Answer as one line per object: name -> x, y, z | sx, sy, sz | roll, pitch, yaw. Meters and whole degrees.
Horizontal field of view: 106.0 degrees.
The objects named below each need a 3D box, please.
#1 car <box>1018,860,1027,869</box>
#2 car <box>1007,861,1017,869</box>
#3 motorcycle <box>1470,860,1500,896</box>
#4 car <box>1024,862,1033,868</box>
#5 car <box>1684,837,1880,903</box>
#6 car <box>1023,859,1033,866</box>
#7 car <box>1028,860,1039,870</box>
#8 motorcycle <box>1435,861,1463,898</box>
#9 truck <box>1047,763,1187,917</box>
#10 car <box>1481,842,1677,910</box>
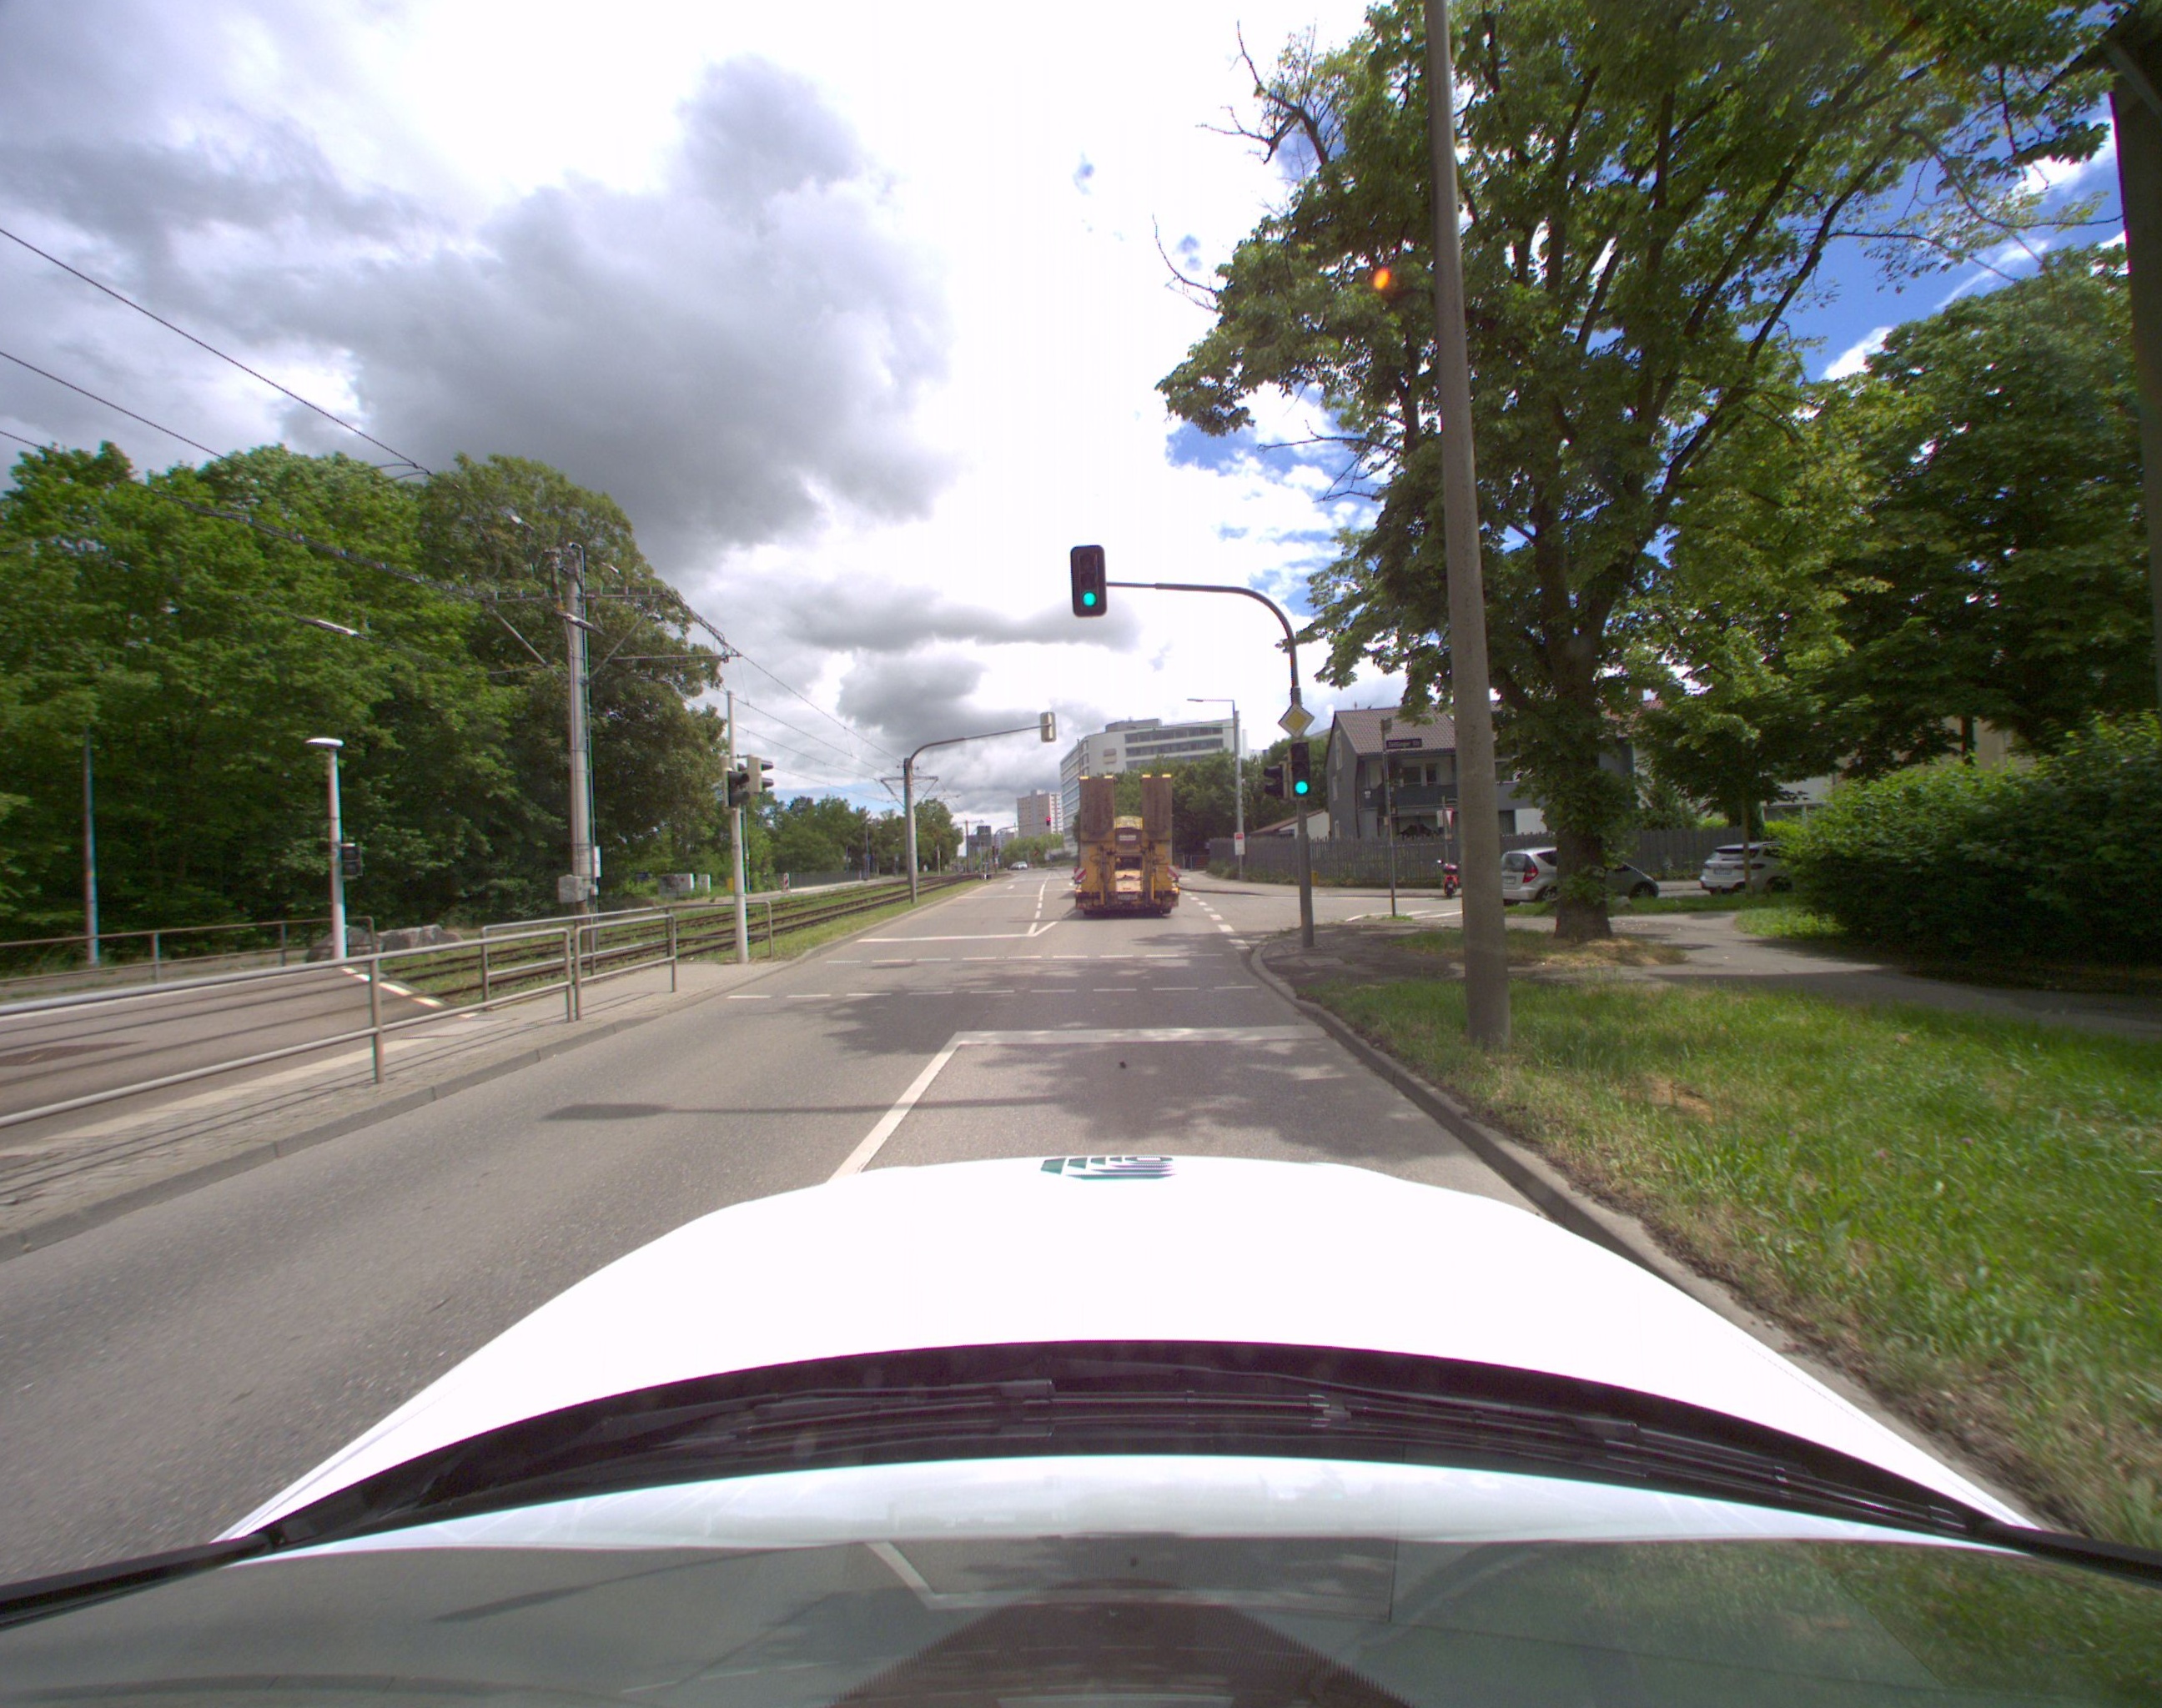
car -> -11.182, 2.068, 156.875 | 1.589, 1.527, 3.651 | -3, -1, -3
car -> -14.400, 2.295, 169.753 | 1.781, 1.570, 4.336 | -3, -1, -6
motorcycle -> 13.390, 0.783, 27.037 | 0.653, 1.149, 2.003 | -1, -1, 20
car -> -12.542, 2.541, 193.998 | 1.990, 1.420, 3.993 | -1, -1, -5
car -> 18.811, 0.397, 21.940 | 4.000, 1.563, 1.778 | -2, 1, -7
car -> -11.994, 1.953, 184.037 | 1.990, 1.420, 3.993 | -1, -1, -5
car -> -9.372, 2.096, 161.108 | 1.990, 1.926, 3.993 | -1, -1, -5
motorcycle -> 12.163, 0.827, 26.988 | 0.653, 1.149, 2.437 | -1, -1, 20
truck -> 0.945, -0.267, 25.968 | 3.305, 3.651, 12.561 | -1, -1, 1
car -> 12.858, 0.539, 21.170 | 3.982, 1.554, 1.935 | -2, 0, -6
